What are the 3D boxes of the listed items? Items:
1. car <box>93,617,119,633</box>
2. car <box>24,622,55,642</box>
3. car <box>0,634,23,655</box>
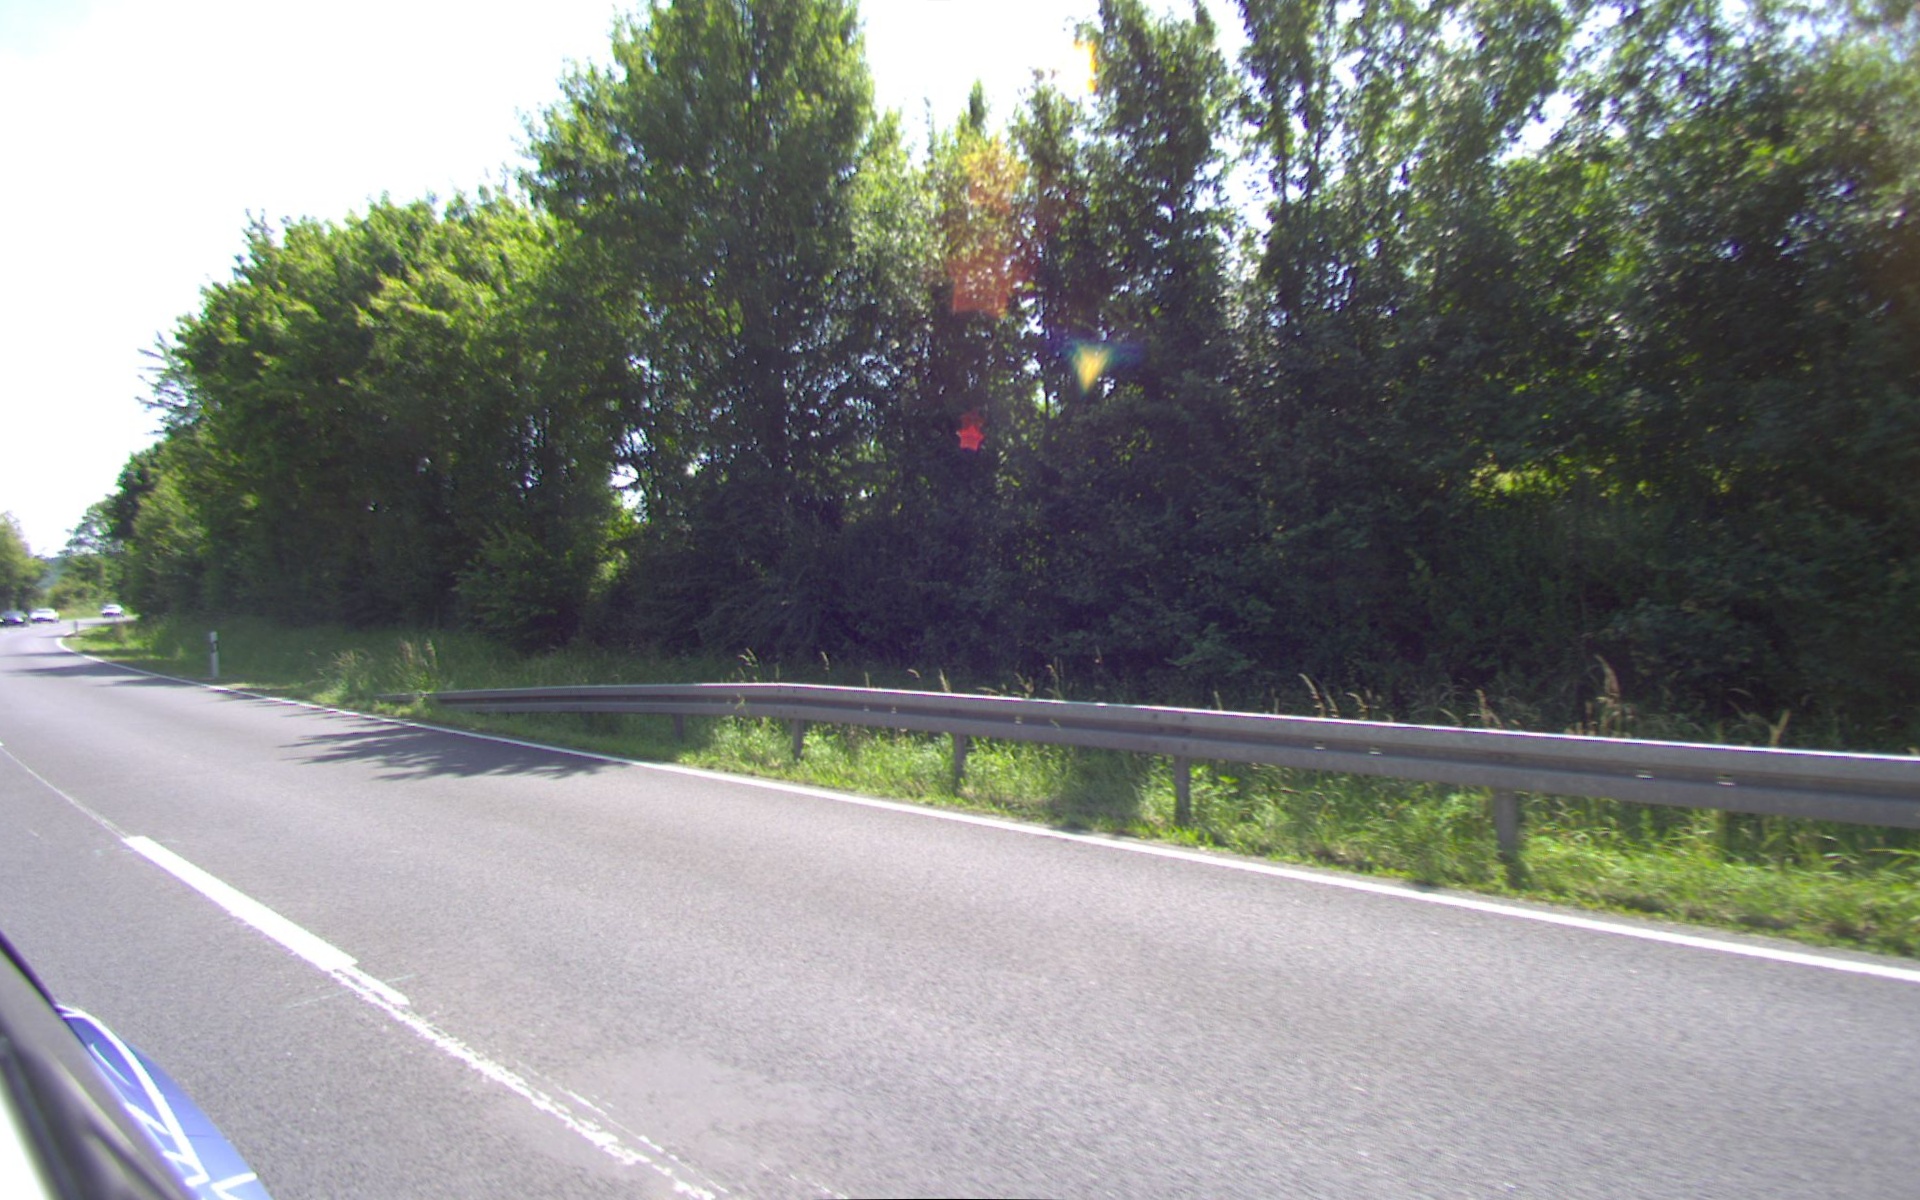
[{"bbox_3d":[-116.240,3.378,137.738,1.966,2.029,4.012,-2,0,-30],"label":"car"},{"bbox_3d":[-98.210,3.417,107.983,1.967,2.029,4.010,-1,-1,-35],"label":"car"},{"bbox_3d":[-85.069,3.964,90.142,1.854,1.721,4.010,-1,-1,-35],"label":"car"}]
